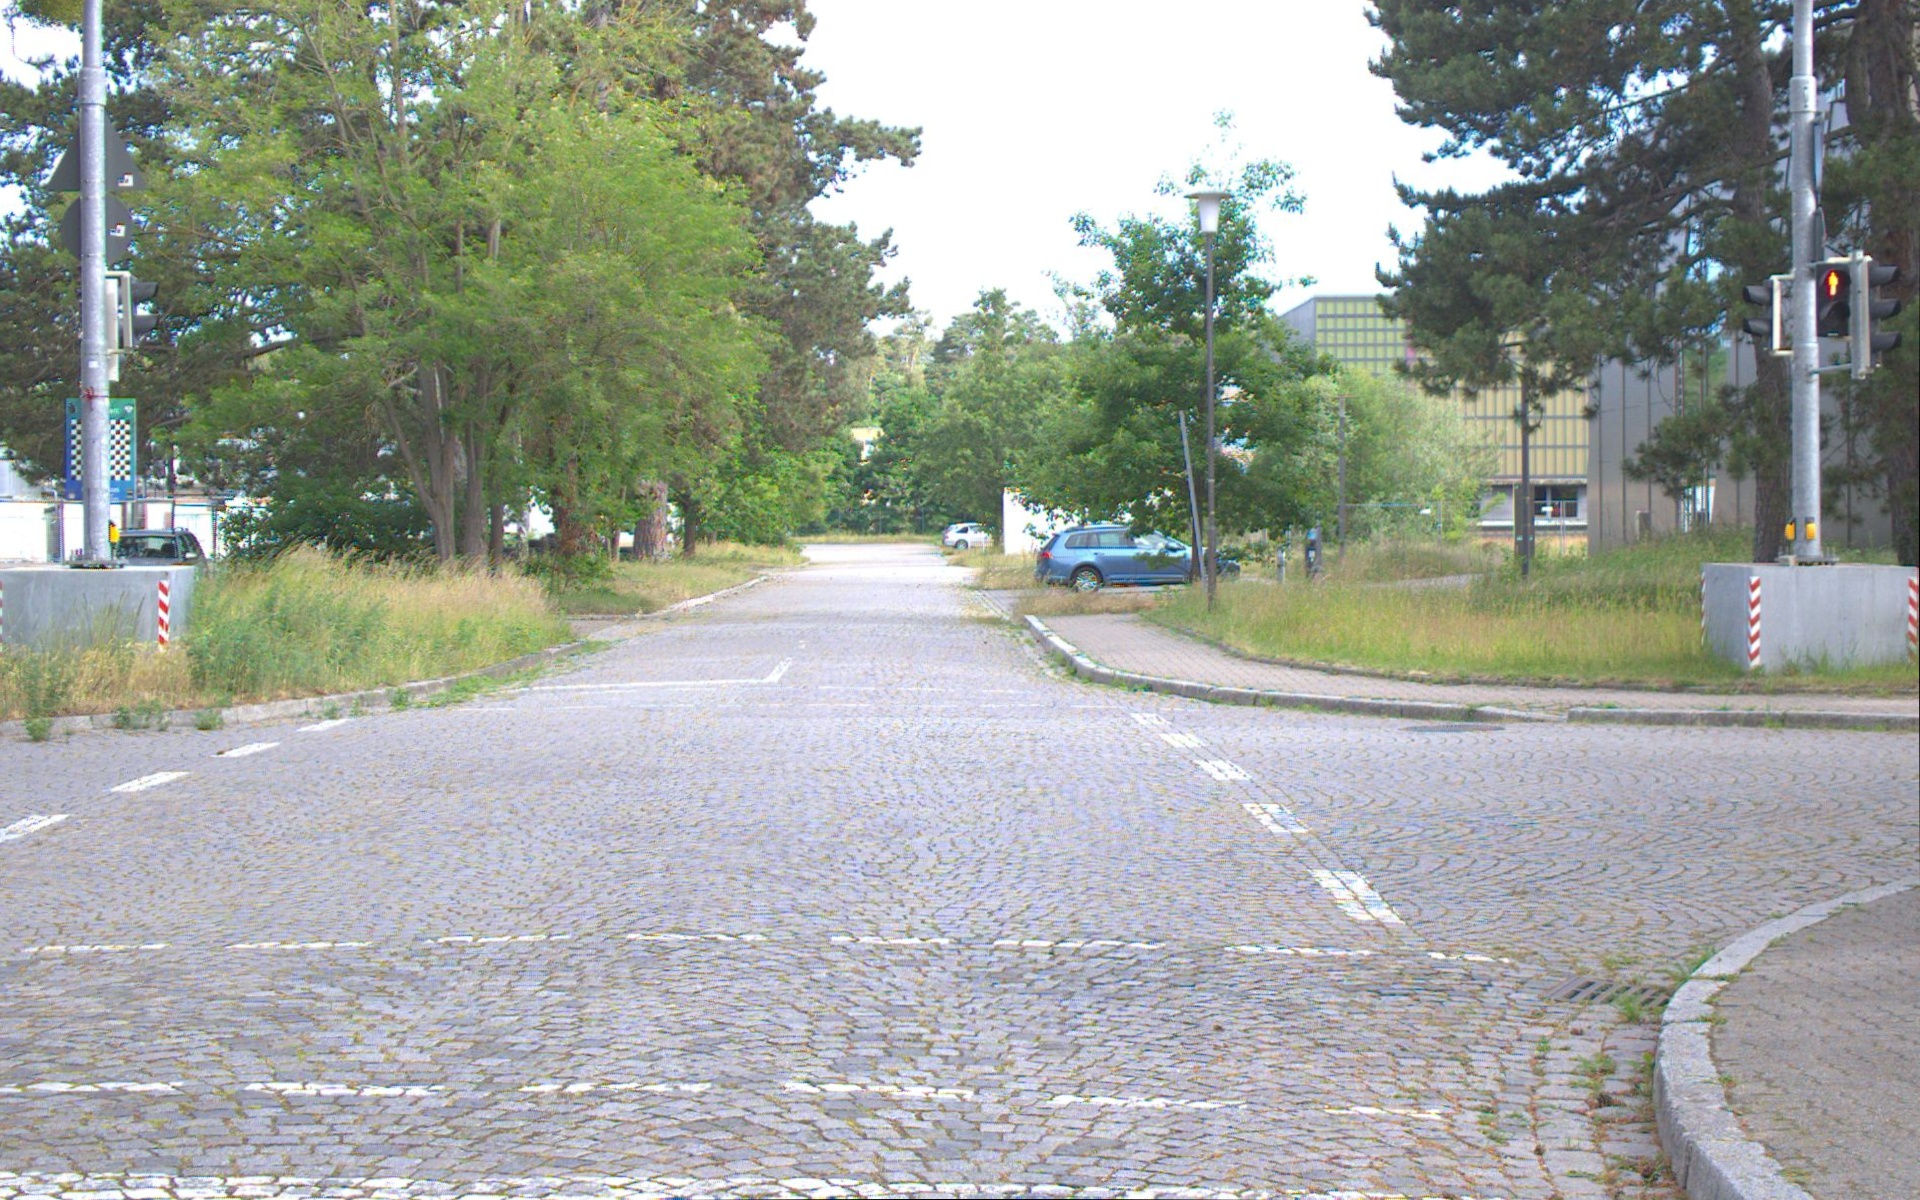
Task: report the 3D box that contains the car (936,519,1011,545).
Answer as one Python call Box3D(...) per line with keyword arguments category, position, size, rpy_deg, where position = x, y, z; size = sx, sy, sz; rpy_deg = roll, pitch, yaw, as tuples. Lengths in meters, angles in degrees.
Box3D(category="car", position=(0.770, -3.825, 193.189), size=(3.986, 1.393, 2.001), rpy_deg=(0, 1, -6))

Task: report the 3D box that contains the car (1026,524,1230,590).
Box3D(category="car", position=(3.690, -0.962, 76.152), size=(4.343, 1.417, 2.000), rpy_deg=(0, 1, -3))

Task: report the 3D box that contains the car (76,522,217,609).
Box3D(category="car", position=(-14.405, -0.643, 61.076), size=(1.613, 1.482, 4.000), rpy_deg=(0, 1, -1))
